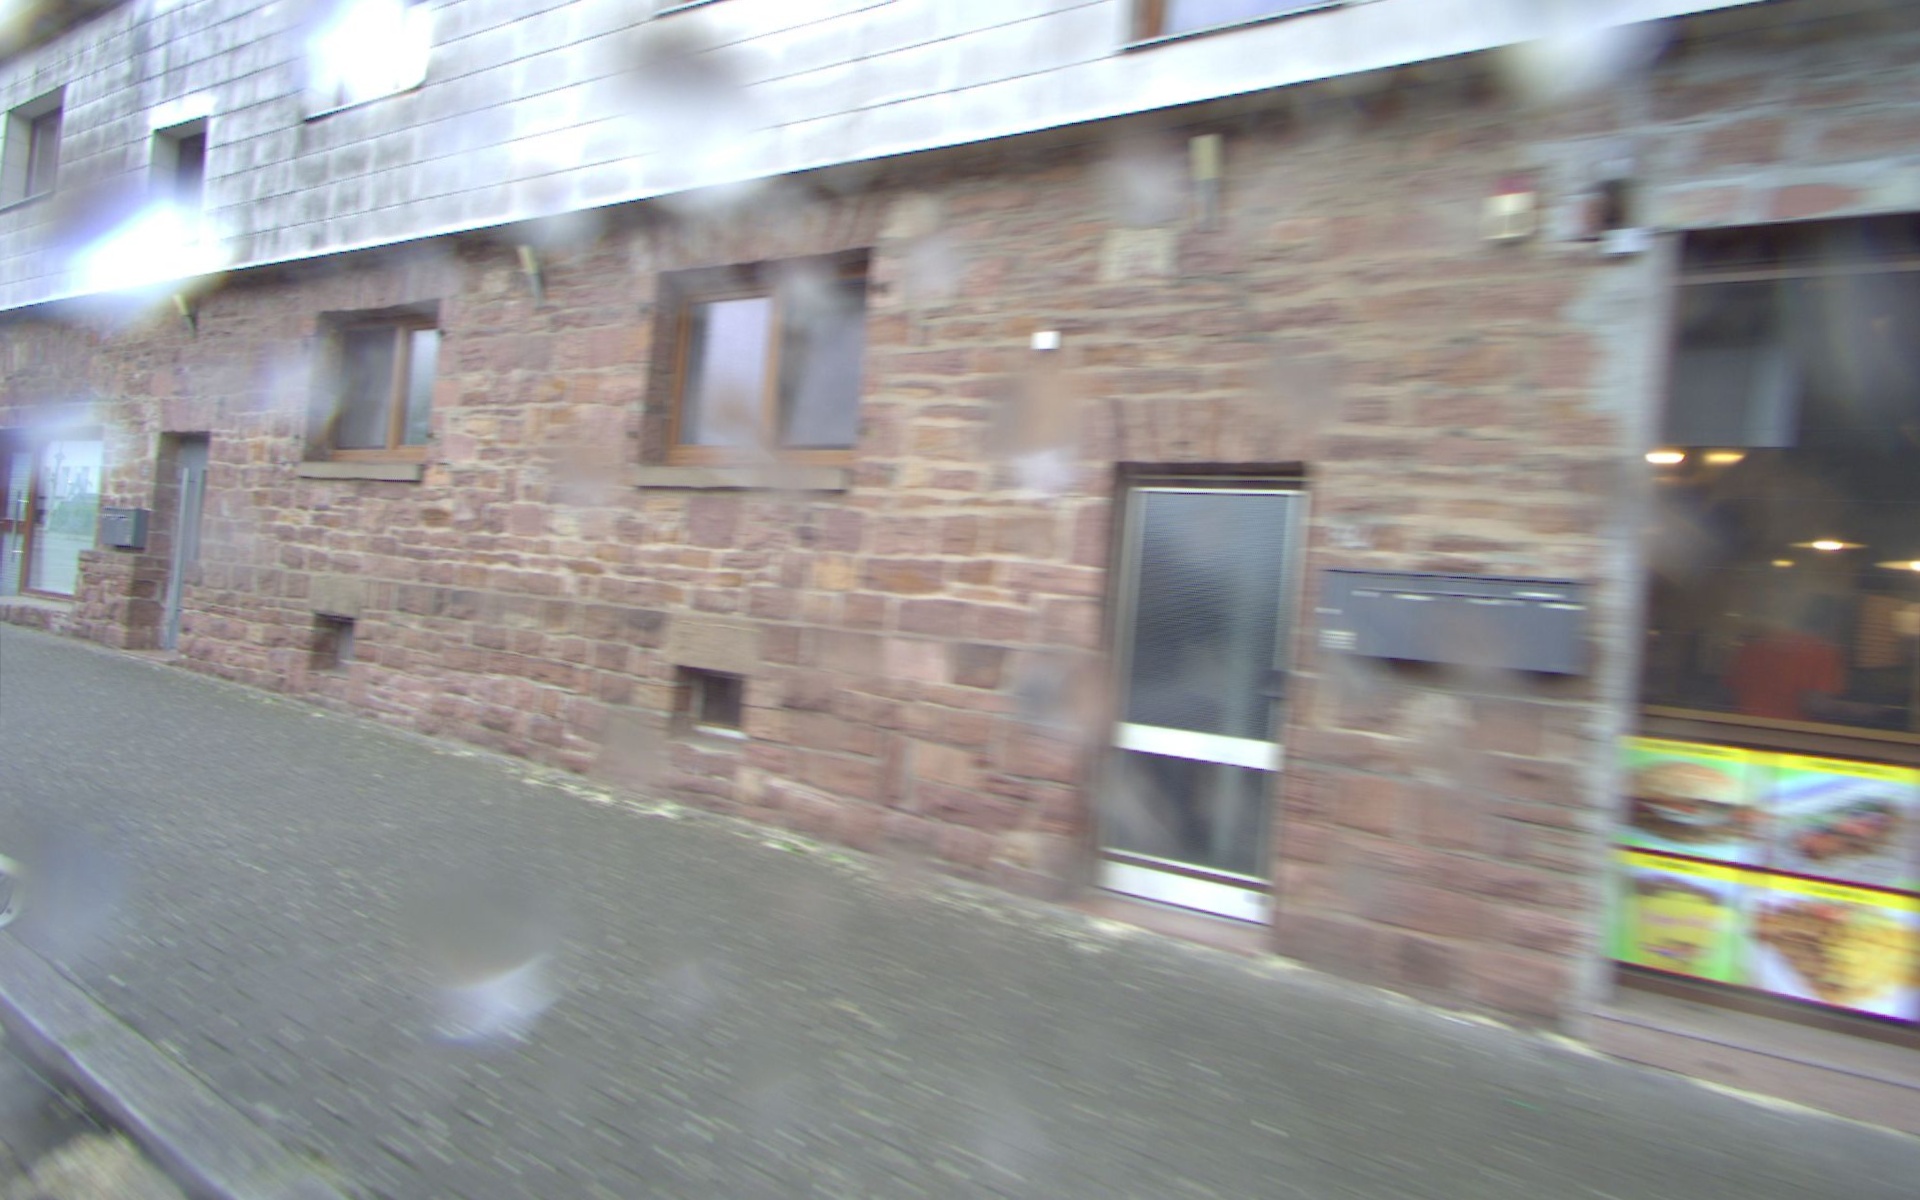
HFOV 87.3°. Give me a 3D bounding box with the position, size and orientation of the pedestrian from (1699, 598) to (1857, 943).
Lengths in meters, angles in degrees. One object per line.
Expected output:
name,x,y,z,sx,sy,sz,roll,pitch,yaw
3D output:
pedestrian,4.293,0.867,5.308,0.447,1.679,0.493,6,-2,31
